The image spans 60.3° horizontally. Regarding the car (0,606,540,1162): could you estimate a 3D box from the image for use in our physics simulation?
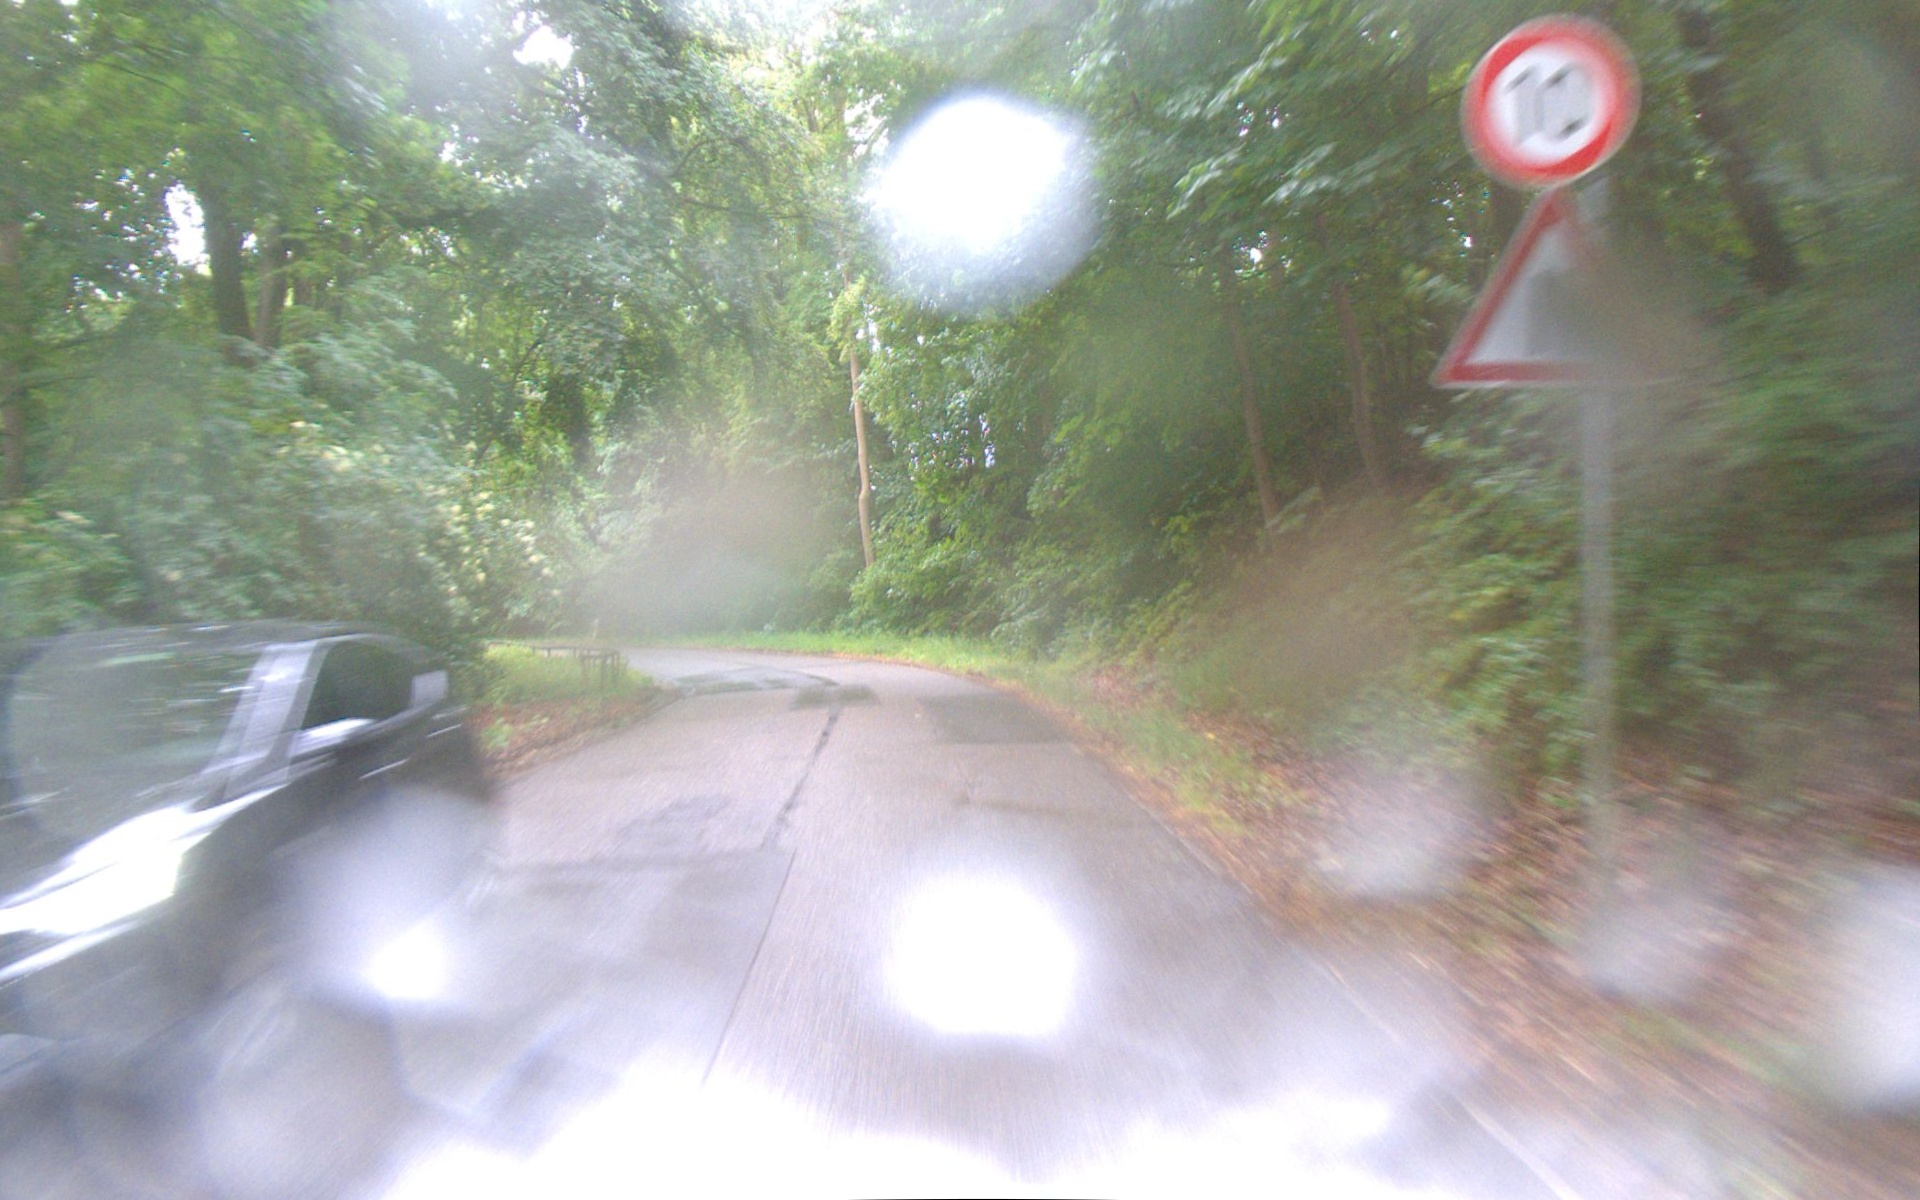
[{"bbox_3d":[-3.018,0.834,6.570,1.679,1.501,3.890,-3,0,-1],"label":"car"}]
